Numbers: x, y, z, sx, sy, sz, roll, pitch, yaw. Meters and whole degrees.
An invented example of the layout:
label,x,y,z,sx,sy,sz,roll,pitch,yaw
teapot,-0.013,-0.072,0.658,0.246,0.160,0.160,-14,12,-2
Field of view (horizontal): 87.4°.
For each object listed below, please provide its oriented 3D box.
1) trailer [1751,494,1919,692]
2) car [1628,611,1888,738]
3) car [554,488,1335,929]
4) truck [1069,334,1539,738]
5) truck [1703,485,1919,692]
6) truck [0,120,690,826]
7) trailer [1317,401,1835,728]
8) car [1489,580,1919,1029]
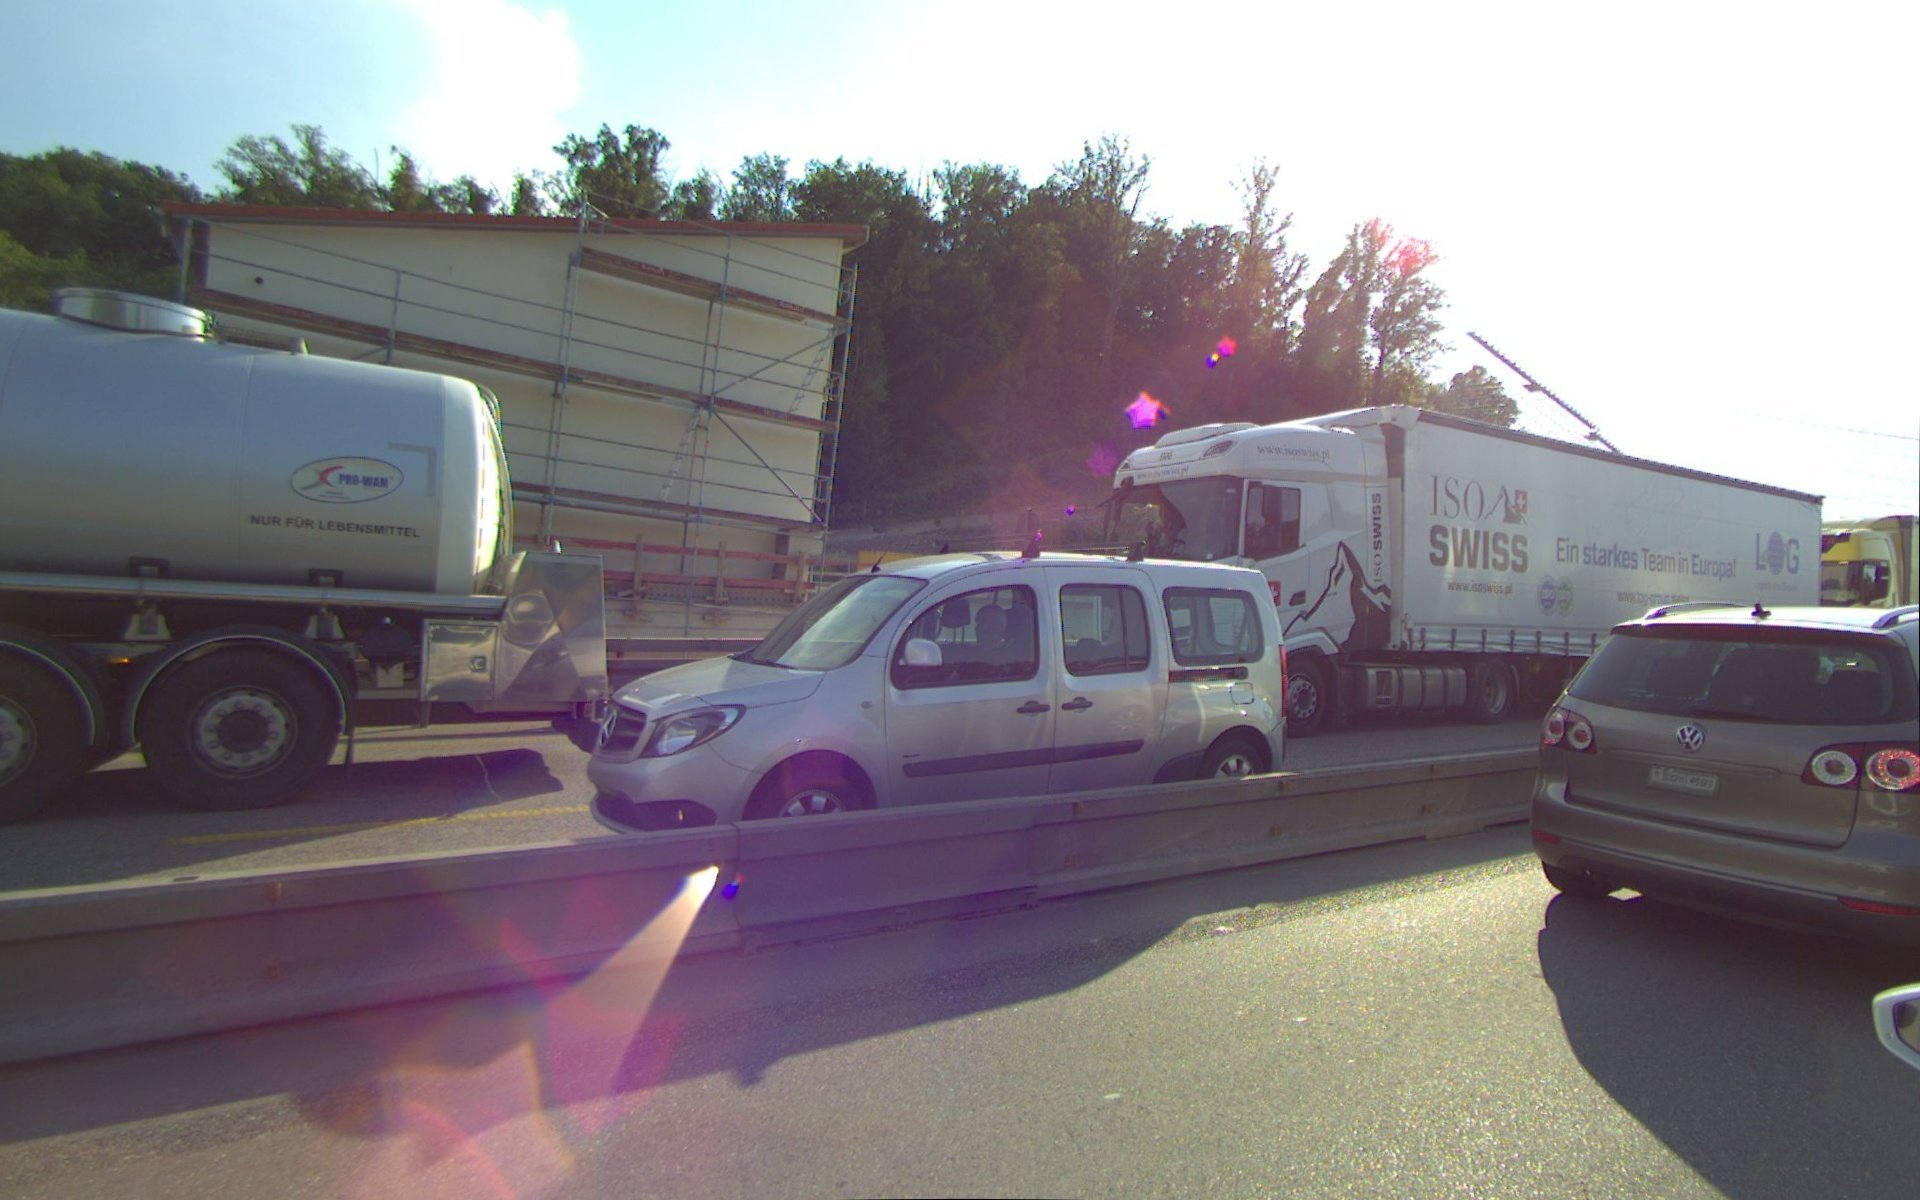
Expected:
label,x,y,z,sx,sy,sz,roll,pitch,yaw
trailer,26.485,0.178,27.765,14.228,4.451,2.876,3,-2,-33
car,11.131,0.959,13.958,3.805,1.526,1.661,1,0,-32
car,0.101,0.524,6.498,4.811,1.942,1.823,1,0,-32
truck,4.746,-0.538,13.429,6.251,4.327,2.431,3,-2,-31
truck,20.540,-0.102,23.800,5.710,4.327,2.877,3,-2,-33
truck,-8.713,-0.811,5.423,13.733,4.023,2.795,2,0,-31
trailer,11.258,-0.187,17.466,12.010,4.321,2.440,3,-2,-31
car,4.808,0.832,5.351,4.102,1.608,1.691,3,-2,-32
